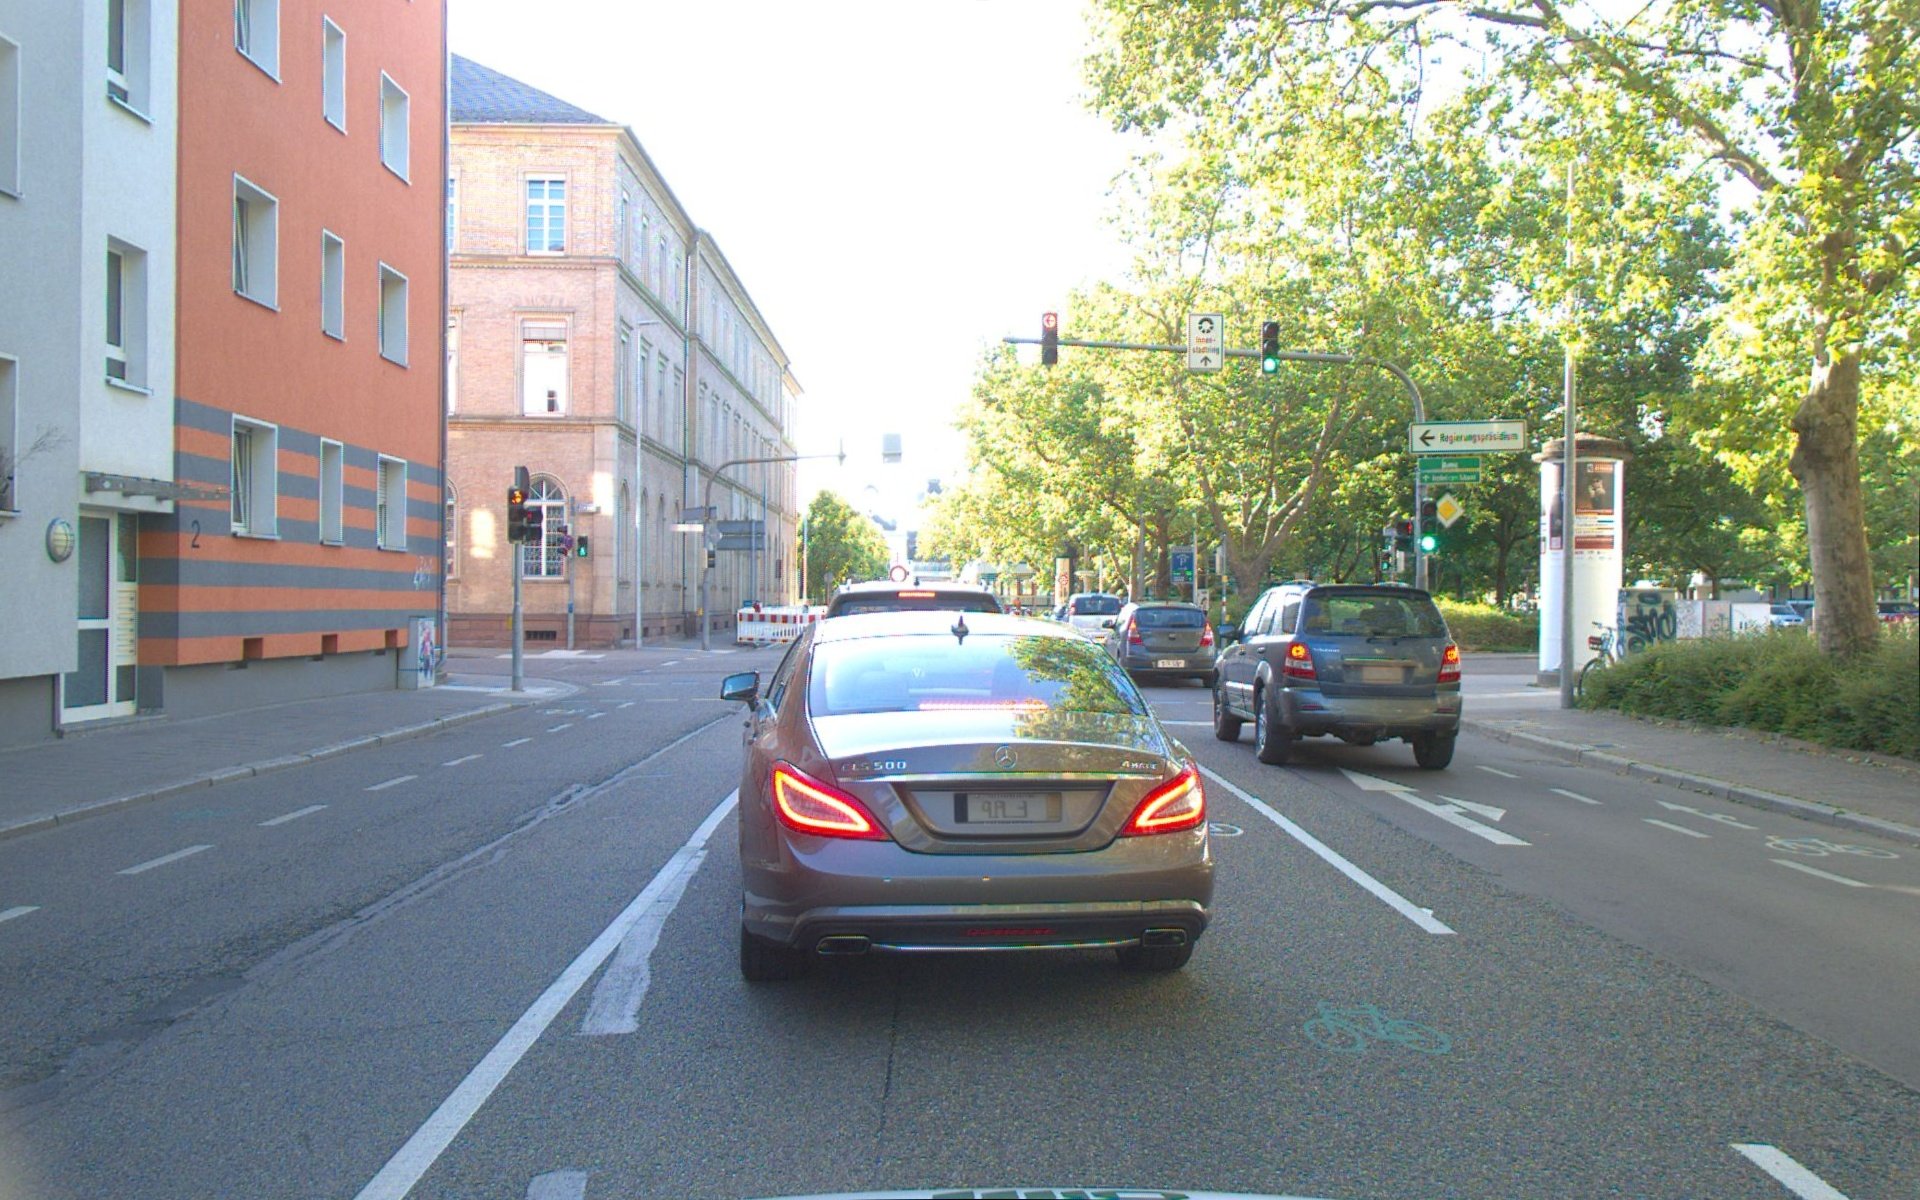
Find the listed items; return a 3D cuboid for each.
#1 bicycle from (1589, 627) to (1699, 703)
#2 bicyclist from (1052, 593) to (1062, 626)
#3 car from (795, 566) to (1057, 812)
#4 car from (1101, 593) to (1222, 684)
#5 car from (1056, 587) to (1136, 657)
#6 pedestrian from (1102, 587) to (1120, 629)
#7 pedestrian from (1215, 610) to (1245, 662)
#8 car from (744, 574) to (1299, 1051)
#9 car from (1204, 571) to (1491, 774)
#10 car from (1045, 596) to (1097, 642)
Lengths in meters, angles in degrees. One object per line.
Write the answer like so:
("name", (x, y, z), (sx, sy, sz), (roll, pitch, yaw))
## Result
("bicycle", (9.874, 0.921, 23.849), (1.868, 1.046, 0.633), (1, -1, -39))
("bicyclist", (6.166, 0.602, 105.064), (0.583, 2.075, 0.565), (1, -1, -5))
("car", (-0.267, 0.620, 13.604), (1.823, 1.712, 3.999), (1, 0, -1))
("car", (3.628, 0.654, 30.373), (1.670, 1.545, 3.999), (1, 0, -1))
("car", (3.494, 0.555, 42.896), (1.696, 1.691, 3.680), (1, 0, -1))
("pedestrian", (6.409, 0.342, 70.147), (0.623, 1.791, 0.698), (1, -1, -5))
("pedestrian", (8.407, 1.115, 51.546), (0.624, 1.572, 0.908), (1, 0, -10))
("car", (-0.031, 0.690, 7.476), (1.826, 1.545, 3.993), (1, 0, -8))
("car", (3.793, 0.642, 16.998), (1.823, 1.794, 4.481), (1, 0, -1))
("car", (3.945, 0.666, 59.173), (1.568, 1.576, 3.680), (1, 0, -1))
